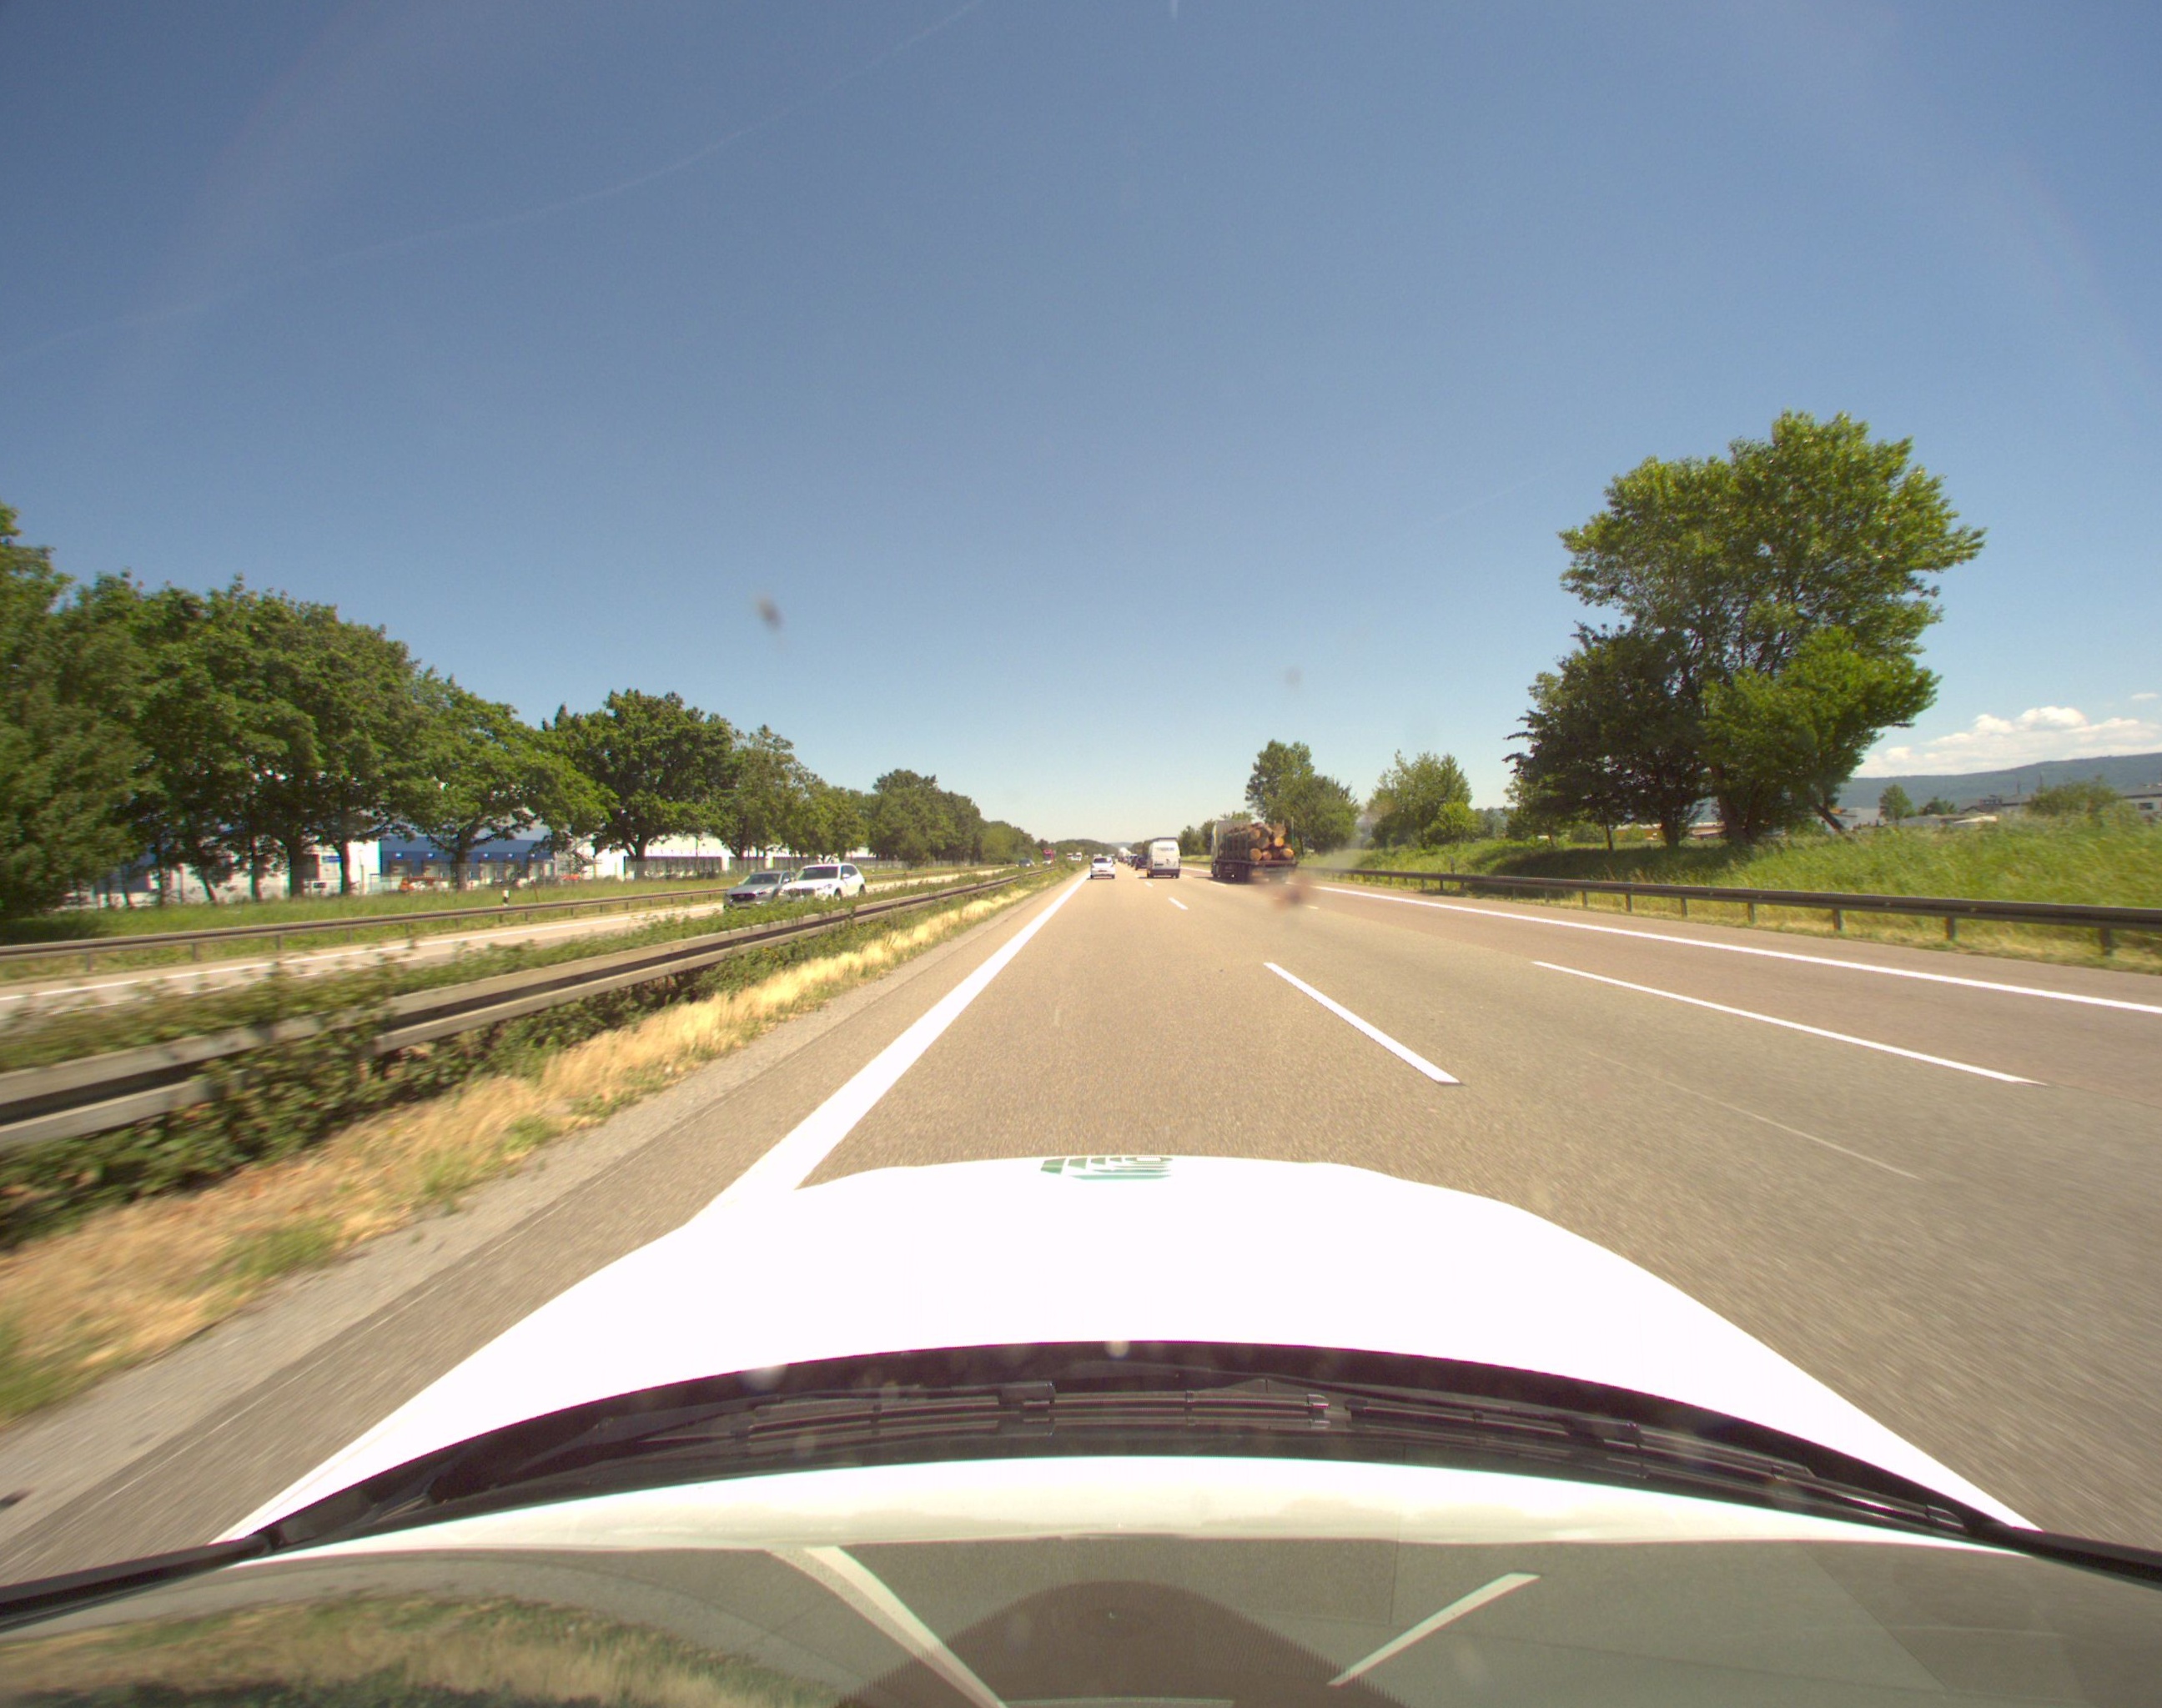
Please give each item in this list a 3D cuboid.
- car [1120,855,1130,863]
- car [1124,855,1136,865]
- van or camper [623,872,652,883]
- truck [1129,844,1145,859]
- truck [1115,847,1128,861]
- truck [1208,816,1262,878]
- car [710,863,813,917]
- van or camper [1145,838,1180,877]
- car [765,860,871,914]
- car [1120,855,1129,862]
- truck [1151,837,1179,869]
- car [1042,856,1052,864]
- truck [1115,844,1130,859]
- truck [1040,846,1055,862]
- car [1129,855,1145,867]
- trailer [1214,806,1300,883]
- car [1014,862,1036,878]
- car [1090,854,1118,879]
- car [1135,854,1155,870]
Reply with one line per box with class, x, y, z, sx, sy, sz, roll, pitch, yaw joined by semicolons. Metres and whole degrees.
car;9.039;1.002;166.741;1.851;1.652;4.000;0;0;0
car;8.126;0.959;134.933;1.851;1.652;4.000;0;0;0
van or camper;-75.018;3.945;137.897;1.986;1.652;5.022;-2;0;2
truck;16.339;-0.673;238.882;3.248;4.209;16.837;0;0;0
truck;13.116;0.025;262.997;3.248;4.209;16.837;0;0;0
truck;10.383;-0.434;55.507;2.660;3.994;6.639;0;0;2
car;-11.569;1.240;29.844;1.865;1.794;4.426;0;0;2
van or camper;5.685;0.264;57.605;2.050;2.622;5.987;-1;0;2
car;-8.792;1.053;27.703;1.986;1.640;4.574;0;0;2
car;10.247;1.105;191.495;1.851;1.652;4.000;0;0;0
truck;12.033;-0.119;118.541;3.067;4.209;16.853;0;0;2
car;-7.380;1.274;178.037;1.839;1.682;4.816;-3;0;2
truck;11.746;-0.611;231.073;3.248;4.209;16.837;0;0;0
truck;-9.152;0.039;223.035;3.426;3.931;6.223;-4;0;2
car;7.756;0.963;113.130;1.851;1.652;4.000;0;0;0
trailer;10.144;-0.483;48.669;2.643;3.958;13.642;0;0;2
car;-6.369;1.821;93.091;1.986;1.640;4.861;-5;0;2
car;1.576;0.843;56.523;1.851;1.652;4.000;0;0;0
car;6.905;0.826;88.327;1.851;1.652;4.000;0;0;0
